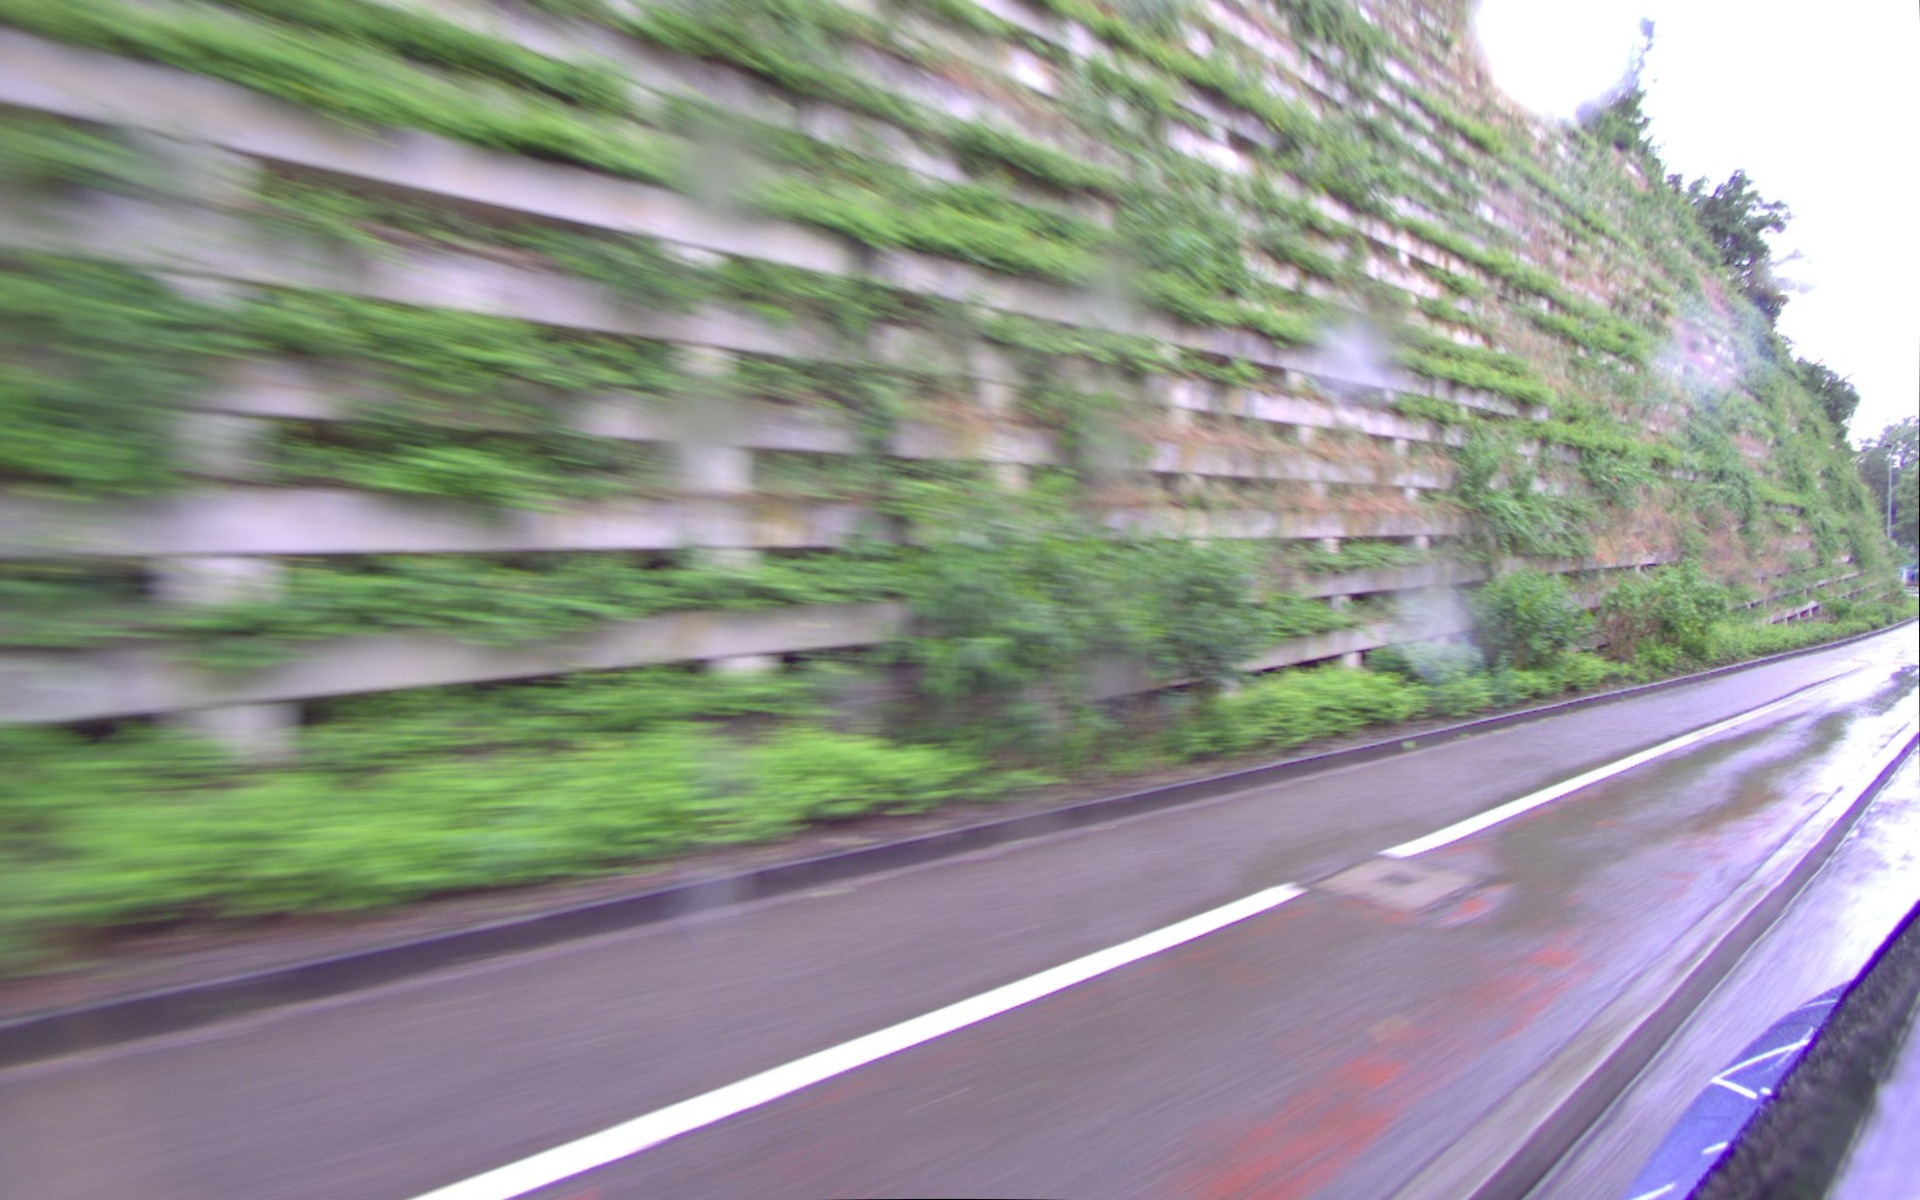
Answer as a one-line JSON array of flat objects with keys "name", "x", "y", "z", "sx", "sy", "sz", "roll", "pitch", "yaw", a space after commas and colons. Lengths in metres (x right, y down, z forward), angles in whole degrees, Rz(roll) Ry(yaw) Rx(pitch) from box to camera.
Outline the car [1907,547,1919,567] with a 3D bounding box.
[{"name": "car", "x": 88.879, "y": -3.782, "z": 91.546, "sx": 1.888, "sy": 1.786, "sz": 4.387, "roll": -2, "pitch": 6, "yaw": -40}]

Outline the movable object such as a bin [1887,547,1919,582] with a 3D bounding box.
[{"name": "movable object such as a bin", "x": 75.939, "y": -2.720, "z": 79.252, "sx": 2.276, "sy": 2.718, "sz": 5.684, "roll": 3, "pitch": 3, "yaw": 13}]

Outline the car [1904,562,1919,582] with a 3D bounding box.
[{"name": "car", "x": 80.200, "y": -2.230, "z": 82.865, "sx": 1.642, "sy": 1.592, "sz": 3.996, "roll": -2, "pitch": 6, "yaw": -41}]
